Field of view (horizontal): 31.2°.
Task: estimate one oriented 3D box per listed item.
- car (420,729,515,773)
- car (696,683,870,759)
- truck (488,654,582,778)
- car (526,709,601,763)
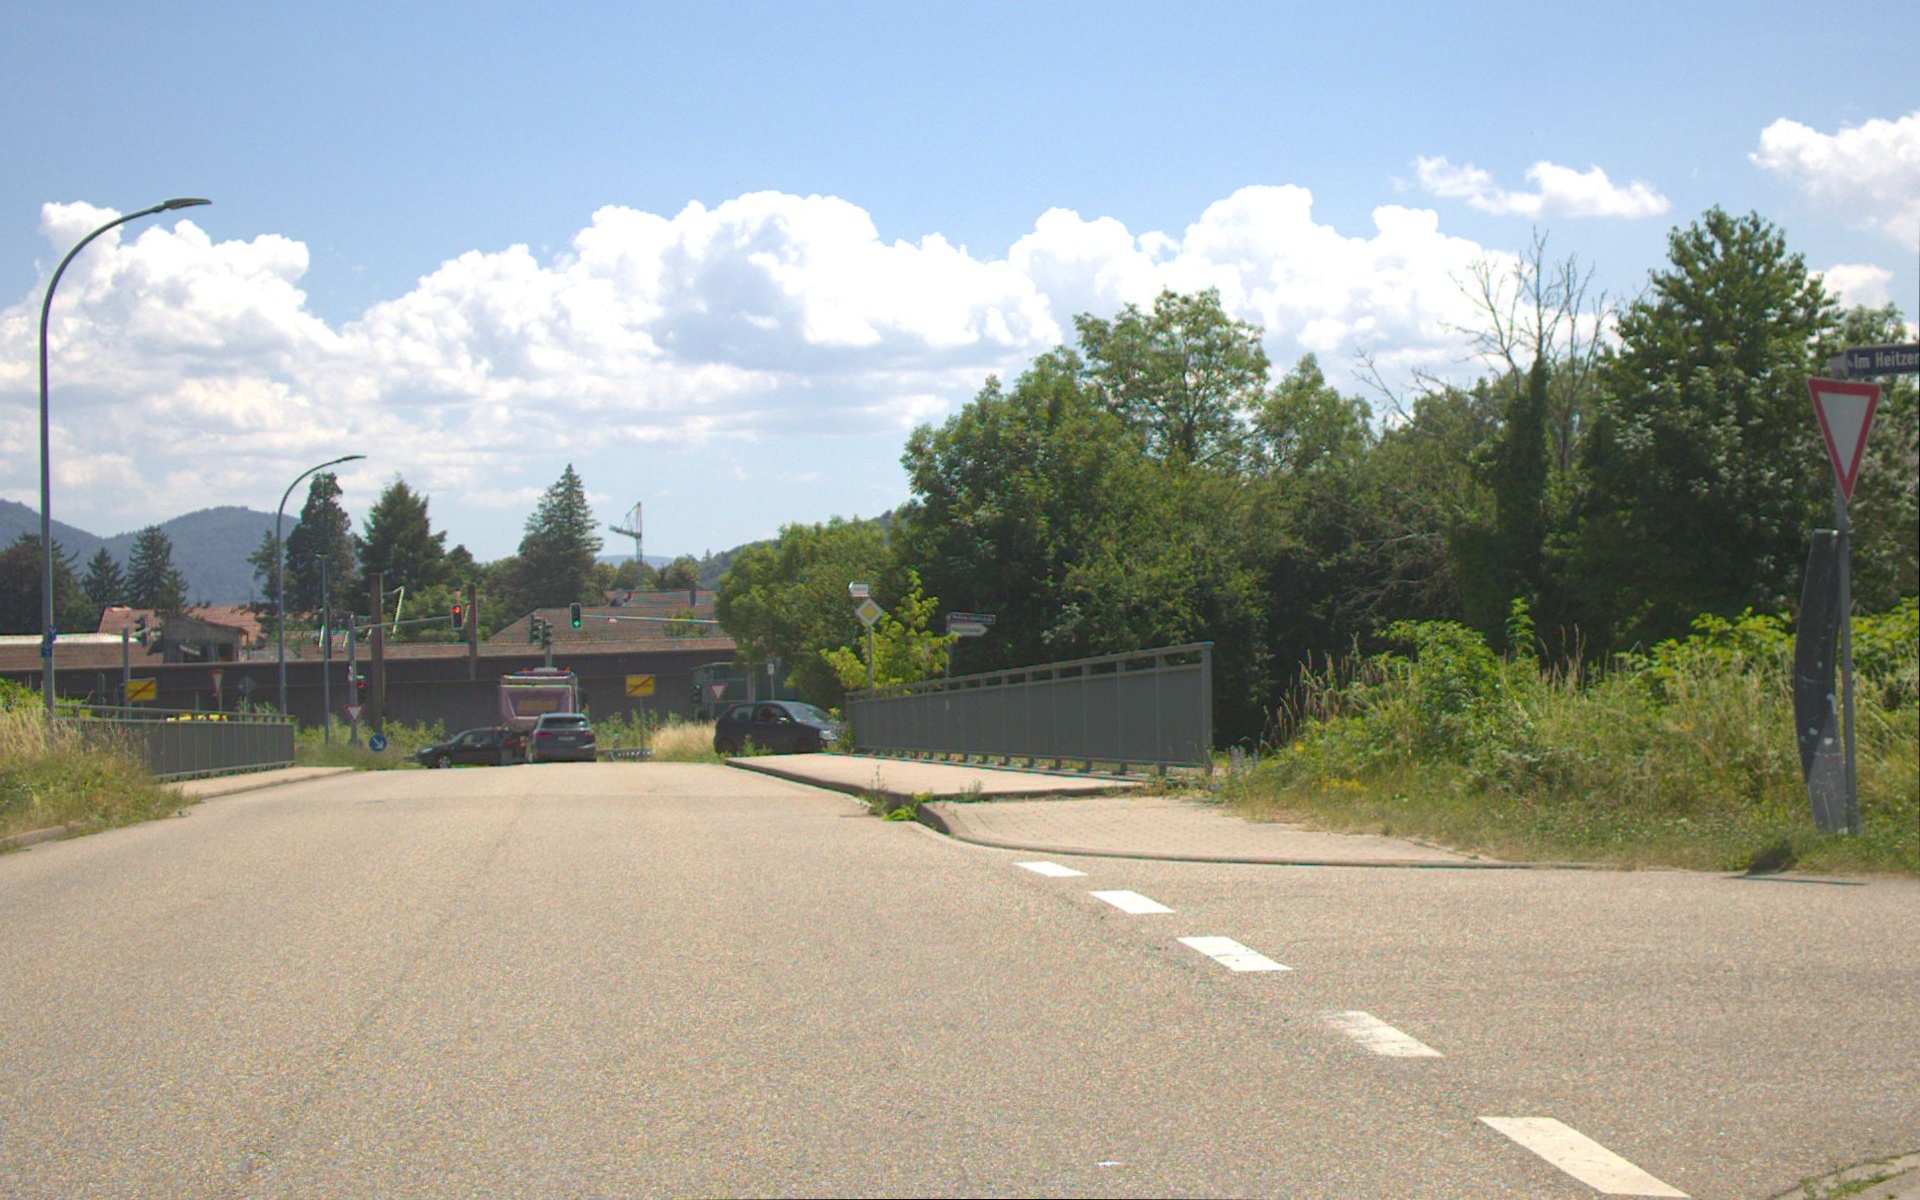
[{"bbox_3d":[-21.457,6.577,149.754,3.986,1.696,1.909,-1,0,-10],"label":"car"},{"bbox_3d":[-4.050,2.754,78.408,3.768,1.629,1.882,-2,0,44],"label":"car"},{"bbox_3d":[-15.238,4.235,122.588,2.995,4.167,11.808,0,-3,-9],"label":"truck"},{"bbox_3d":[-11.294,3.862,97.791,1.993,1.498,4.000,0,-2,-8],"label":"car"}]
